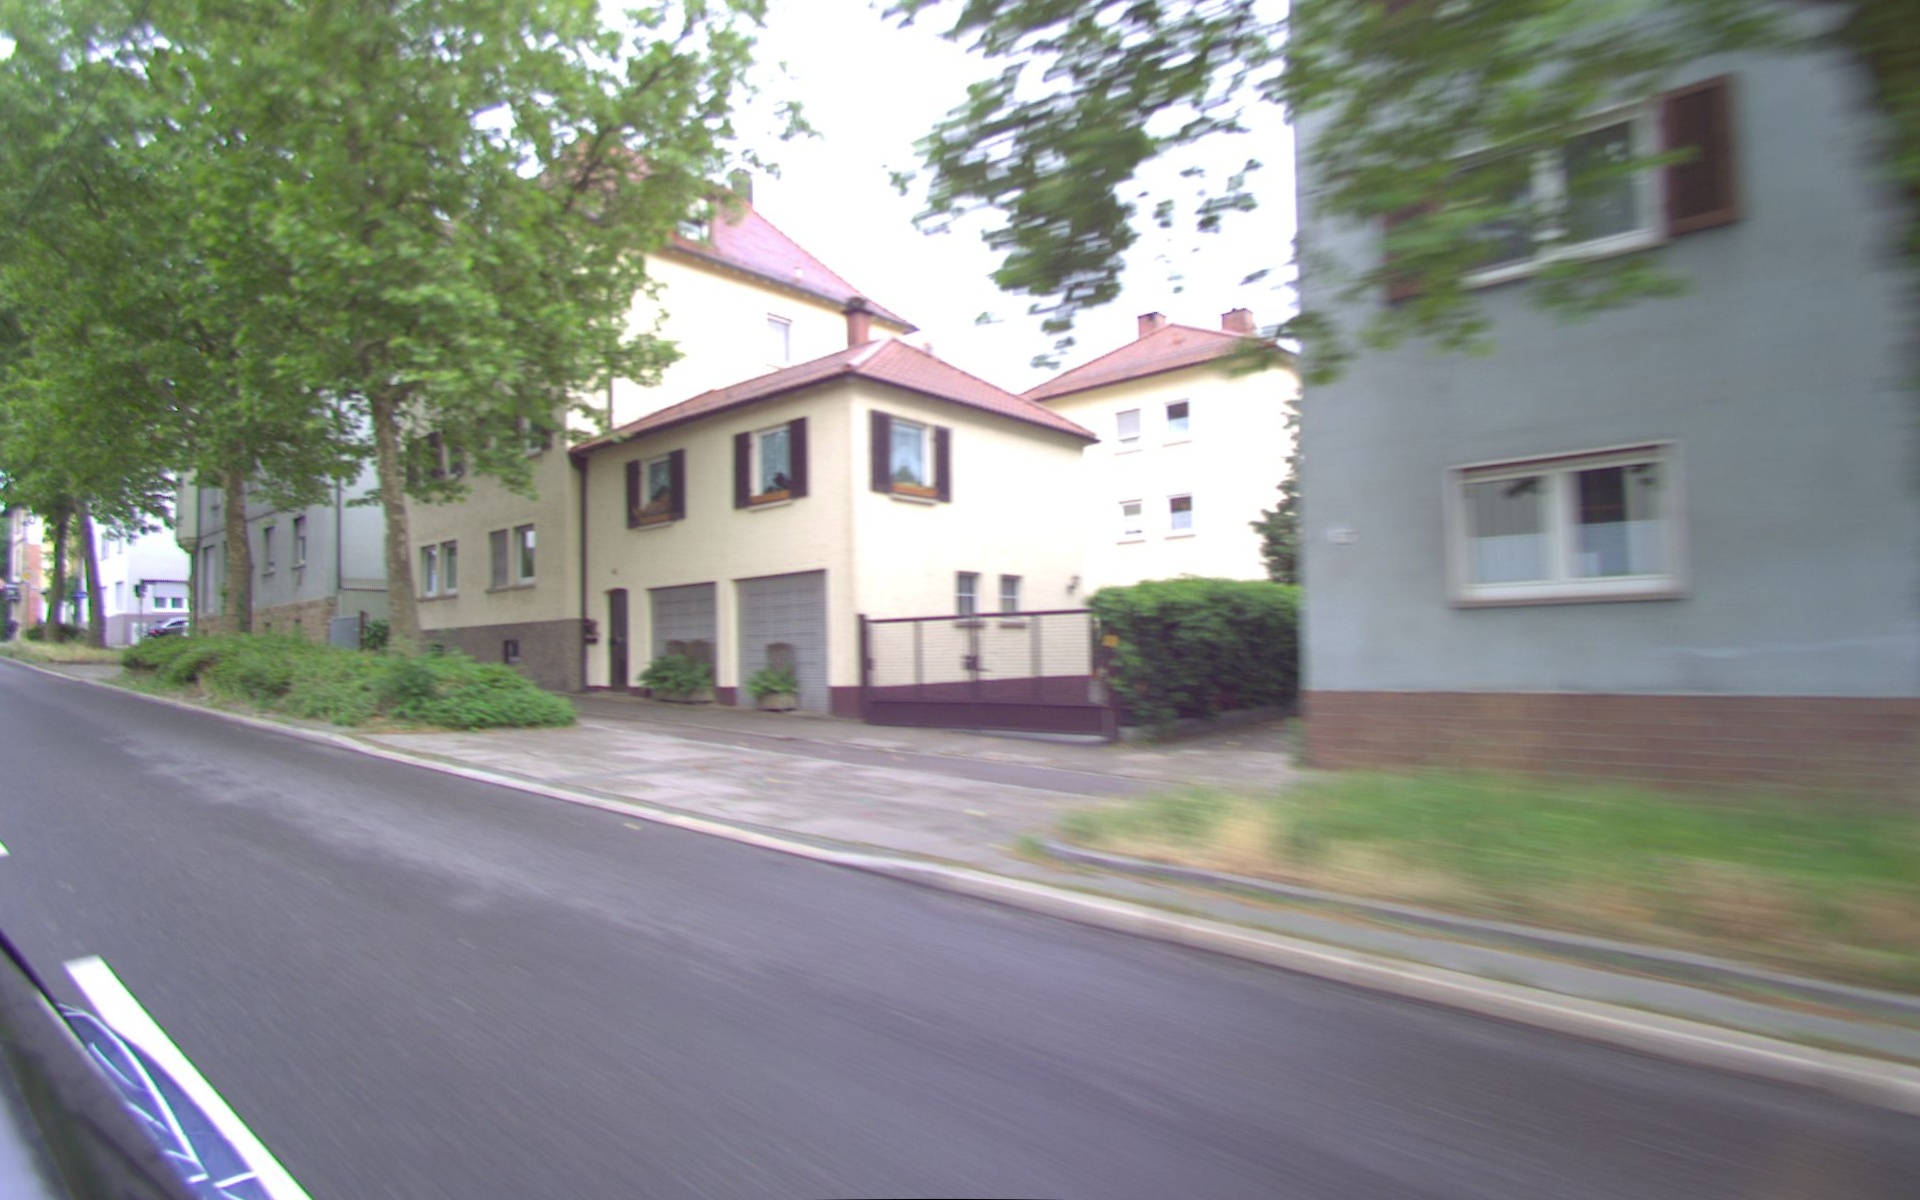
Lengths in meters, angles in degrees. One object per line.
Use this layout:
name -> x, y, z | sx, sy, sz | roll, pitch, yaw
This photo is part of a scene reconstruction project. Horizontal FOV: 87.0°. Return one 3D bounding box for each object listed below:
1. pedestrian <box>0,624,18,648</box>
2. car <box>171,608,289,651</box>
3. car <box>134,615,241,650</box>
pedestrian -> -66.533, 2.512, 70.788 | 0.992, 1.692, 0.807 | -2, -1, 39
car -> -34.524, 1.375, 47.946 | 1.999, 1.716, 4.139 | -2, 1, 41
car -> -38.912, 1.635, 51.051 | 1.999, 1.464, 3.947 | -2, 1, 40
